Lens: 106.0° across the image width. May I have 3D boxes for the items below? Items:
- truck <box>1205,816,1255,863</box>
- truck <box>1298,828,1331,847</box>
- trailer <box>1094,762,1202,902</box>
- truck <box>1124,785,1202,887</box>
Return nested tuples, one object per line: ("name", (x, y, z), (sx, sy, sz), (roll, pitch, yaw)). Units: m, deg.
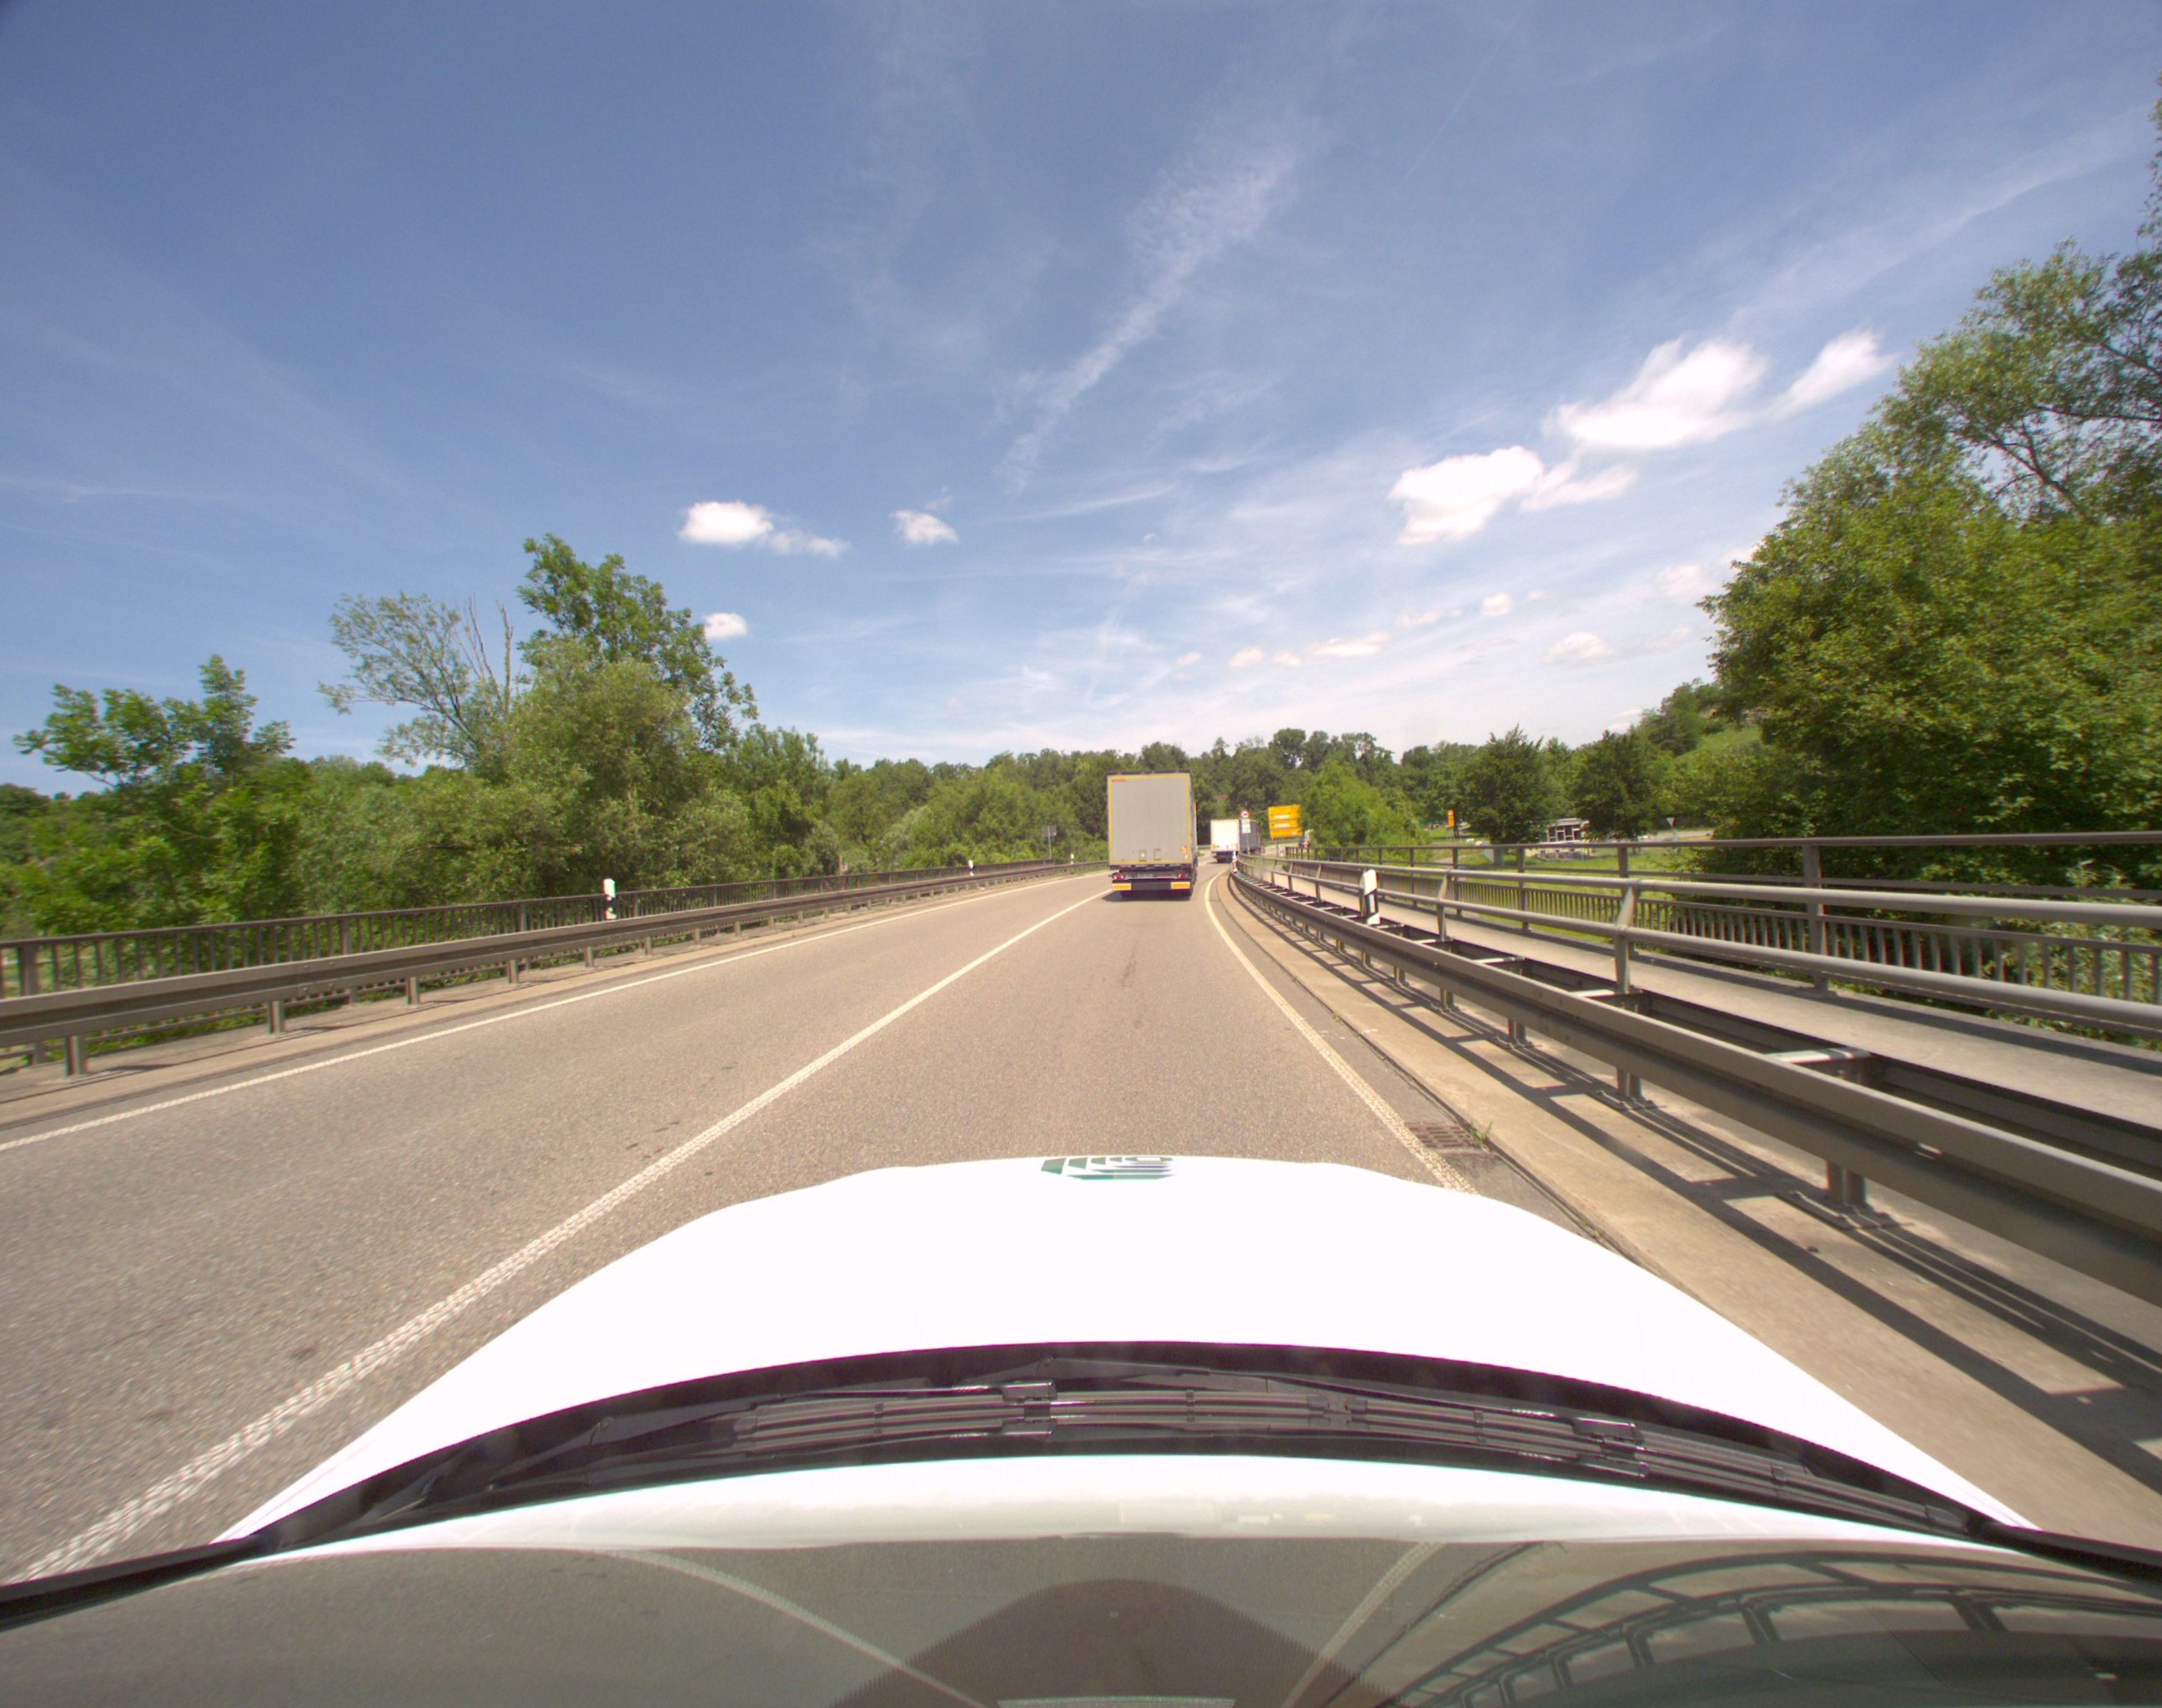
("truck", (14.393, -1.307, 77.974), (3.154, 4.029, 11.798), (-2, 0, 17))
("truck", (37.112, -2.650, 129.310), (2.827, 2.947, 7.151), (-1, 1, 35))
("trailer", (2.894, -0.686, 30.383), (3.034, 4.033, 12.589), (-2, 0, 8))
("truck", (3.824, -0.739, 36.491), (3.020, 4.033, 6.645), (-2, 0, 8))
